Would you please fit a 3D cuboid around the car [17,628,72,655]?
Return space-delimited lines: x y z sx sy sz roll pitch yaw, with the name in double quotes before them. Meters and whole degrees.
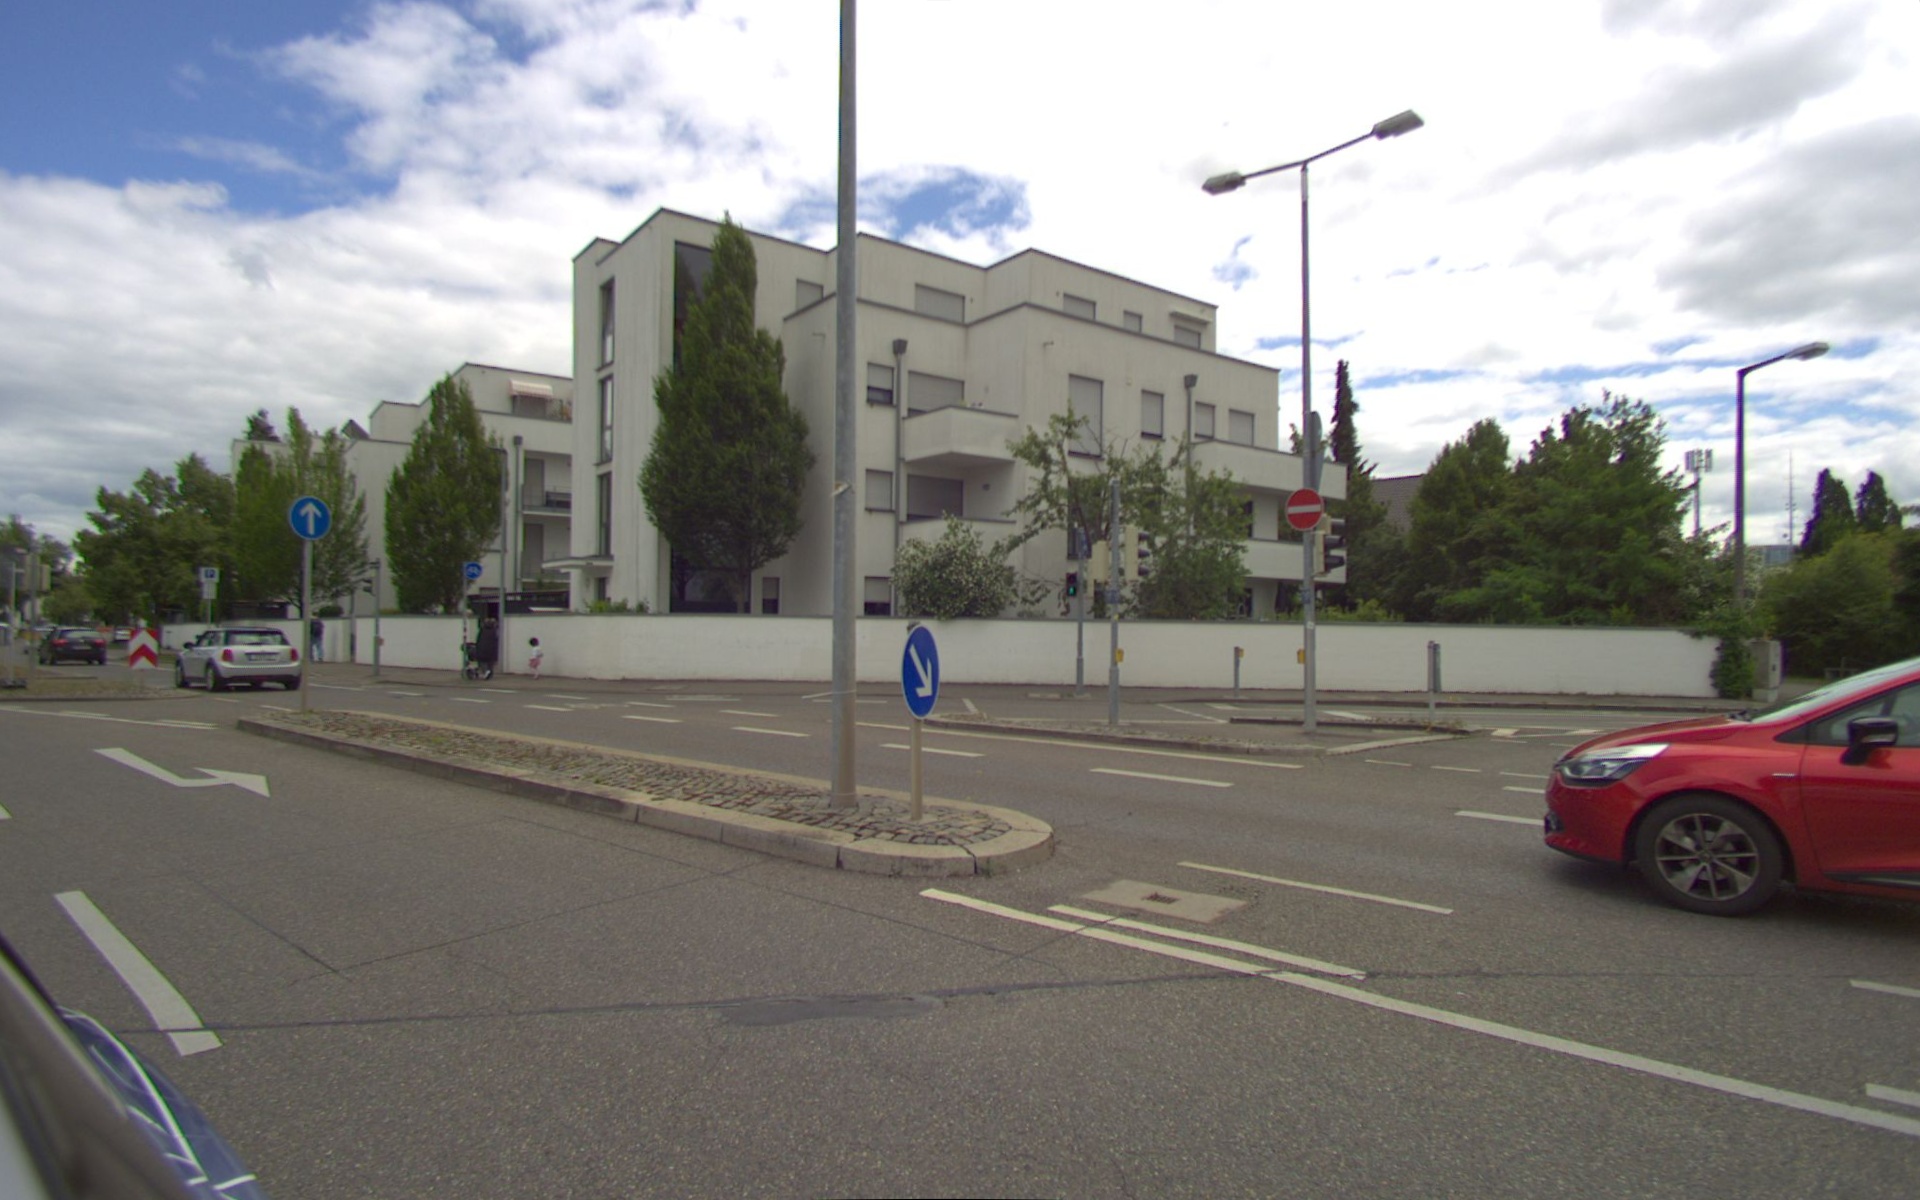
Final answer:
"car" -51.870 2.308 57.327 3.945 1.455 1.780 -1 -2 40

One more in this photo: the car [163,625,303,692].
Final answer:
"car" -16.787 1.297 23.314 3.814 1.420 1.627 -1 -3 39

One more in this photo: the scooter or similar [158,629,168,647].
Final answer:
"scooter or similar" -51.740 2.457 65.680 0.428 1.175 1.329 -2 0 -42

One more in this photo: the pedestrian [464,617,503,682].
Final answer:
"pedestrian" -11.925 1.228 25.317 0.731 1.554 0.526 -2 2 39

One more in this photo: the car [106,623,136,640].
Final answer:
"car" -80.762 3.043 97.439 1.887 1.665 4.009 2 -3 -36

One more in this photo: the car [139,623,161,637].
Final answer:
"car" -96.247 3.595 120.283 1.860 1.628 4.009 2 -3 -36

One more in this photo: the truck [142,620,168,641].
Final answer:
"truck" -111.851 4.199 140.602 2.600 2.794 6.270 2 -2 -37

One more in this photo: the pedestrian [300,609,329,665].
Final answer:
"pedestrian" -23.276 1.318 36.495 0.871 1.962 0.641 -1 1 42

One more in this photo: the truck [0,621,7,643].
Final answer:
"truck" -79.653 2.618 83.084 1.590 1.804 4.008 3 -3 -38

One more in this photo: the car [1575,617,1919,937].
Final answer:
"car" 5.445 0.832 4.860 4.063 1.459 1.703 -1 -3 40

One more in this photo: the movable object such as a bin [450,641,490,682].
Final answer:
"movable object such as a bin" -12.492 1.551 25.796 0.985 0.967 0.492 -1 2 40

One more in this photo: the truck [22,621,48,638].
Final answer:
"truck" -94.310 2.996 103.198 1.594 1.671 4.008 3 -3 -38

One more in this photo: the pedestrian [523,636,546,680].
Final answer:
"pedestrian" -10.622 1.448 25.265 0.444 1.070 0.322 -1 2 40

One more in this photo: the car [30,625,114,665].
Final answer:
"car" -33.651 1.688 38.323 3.914 1.401 1.703 -1 -4 39
